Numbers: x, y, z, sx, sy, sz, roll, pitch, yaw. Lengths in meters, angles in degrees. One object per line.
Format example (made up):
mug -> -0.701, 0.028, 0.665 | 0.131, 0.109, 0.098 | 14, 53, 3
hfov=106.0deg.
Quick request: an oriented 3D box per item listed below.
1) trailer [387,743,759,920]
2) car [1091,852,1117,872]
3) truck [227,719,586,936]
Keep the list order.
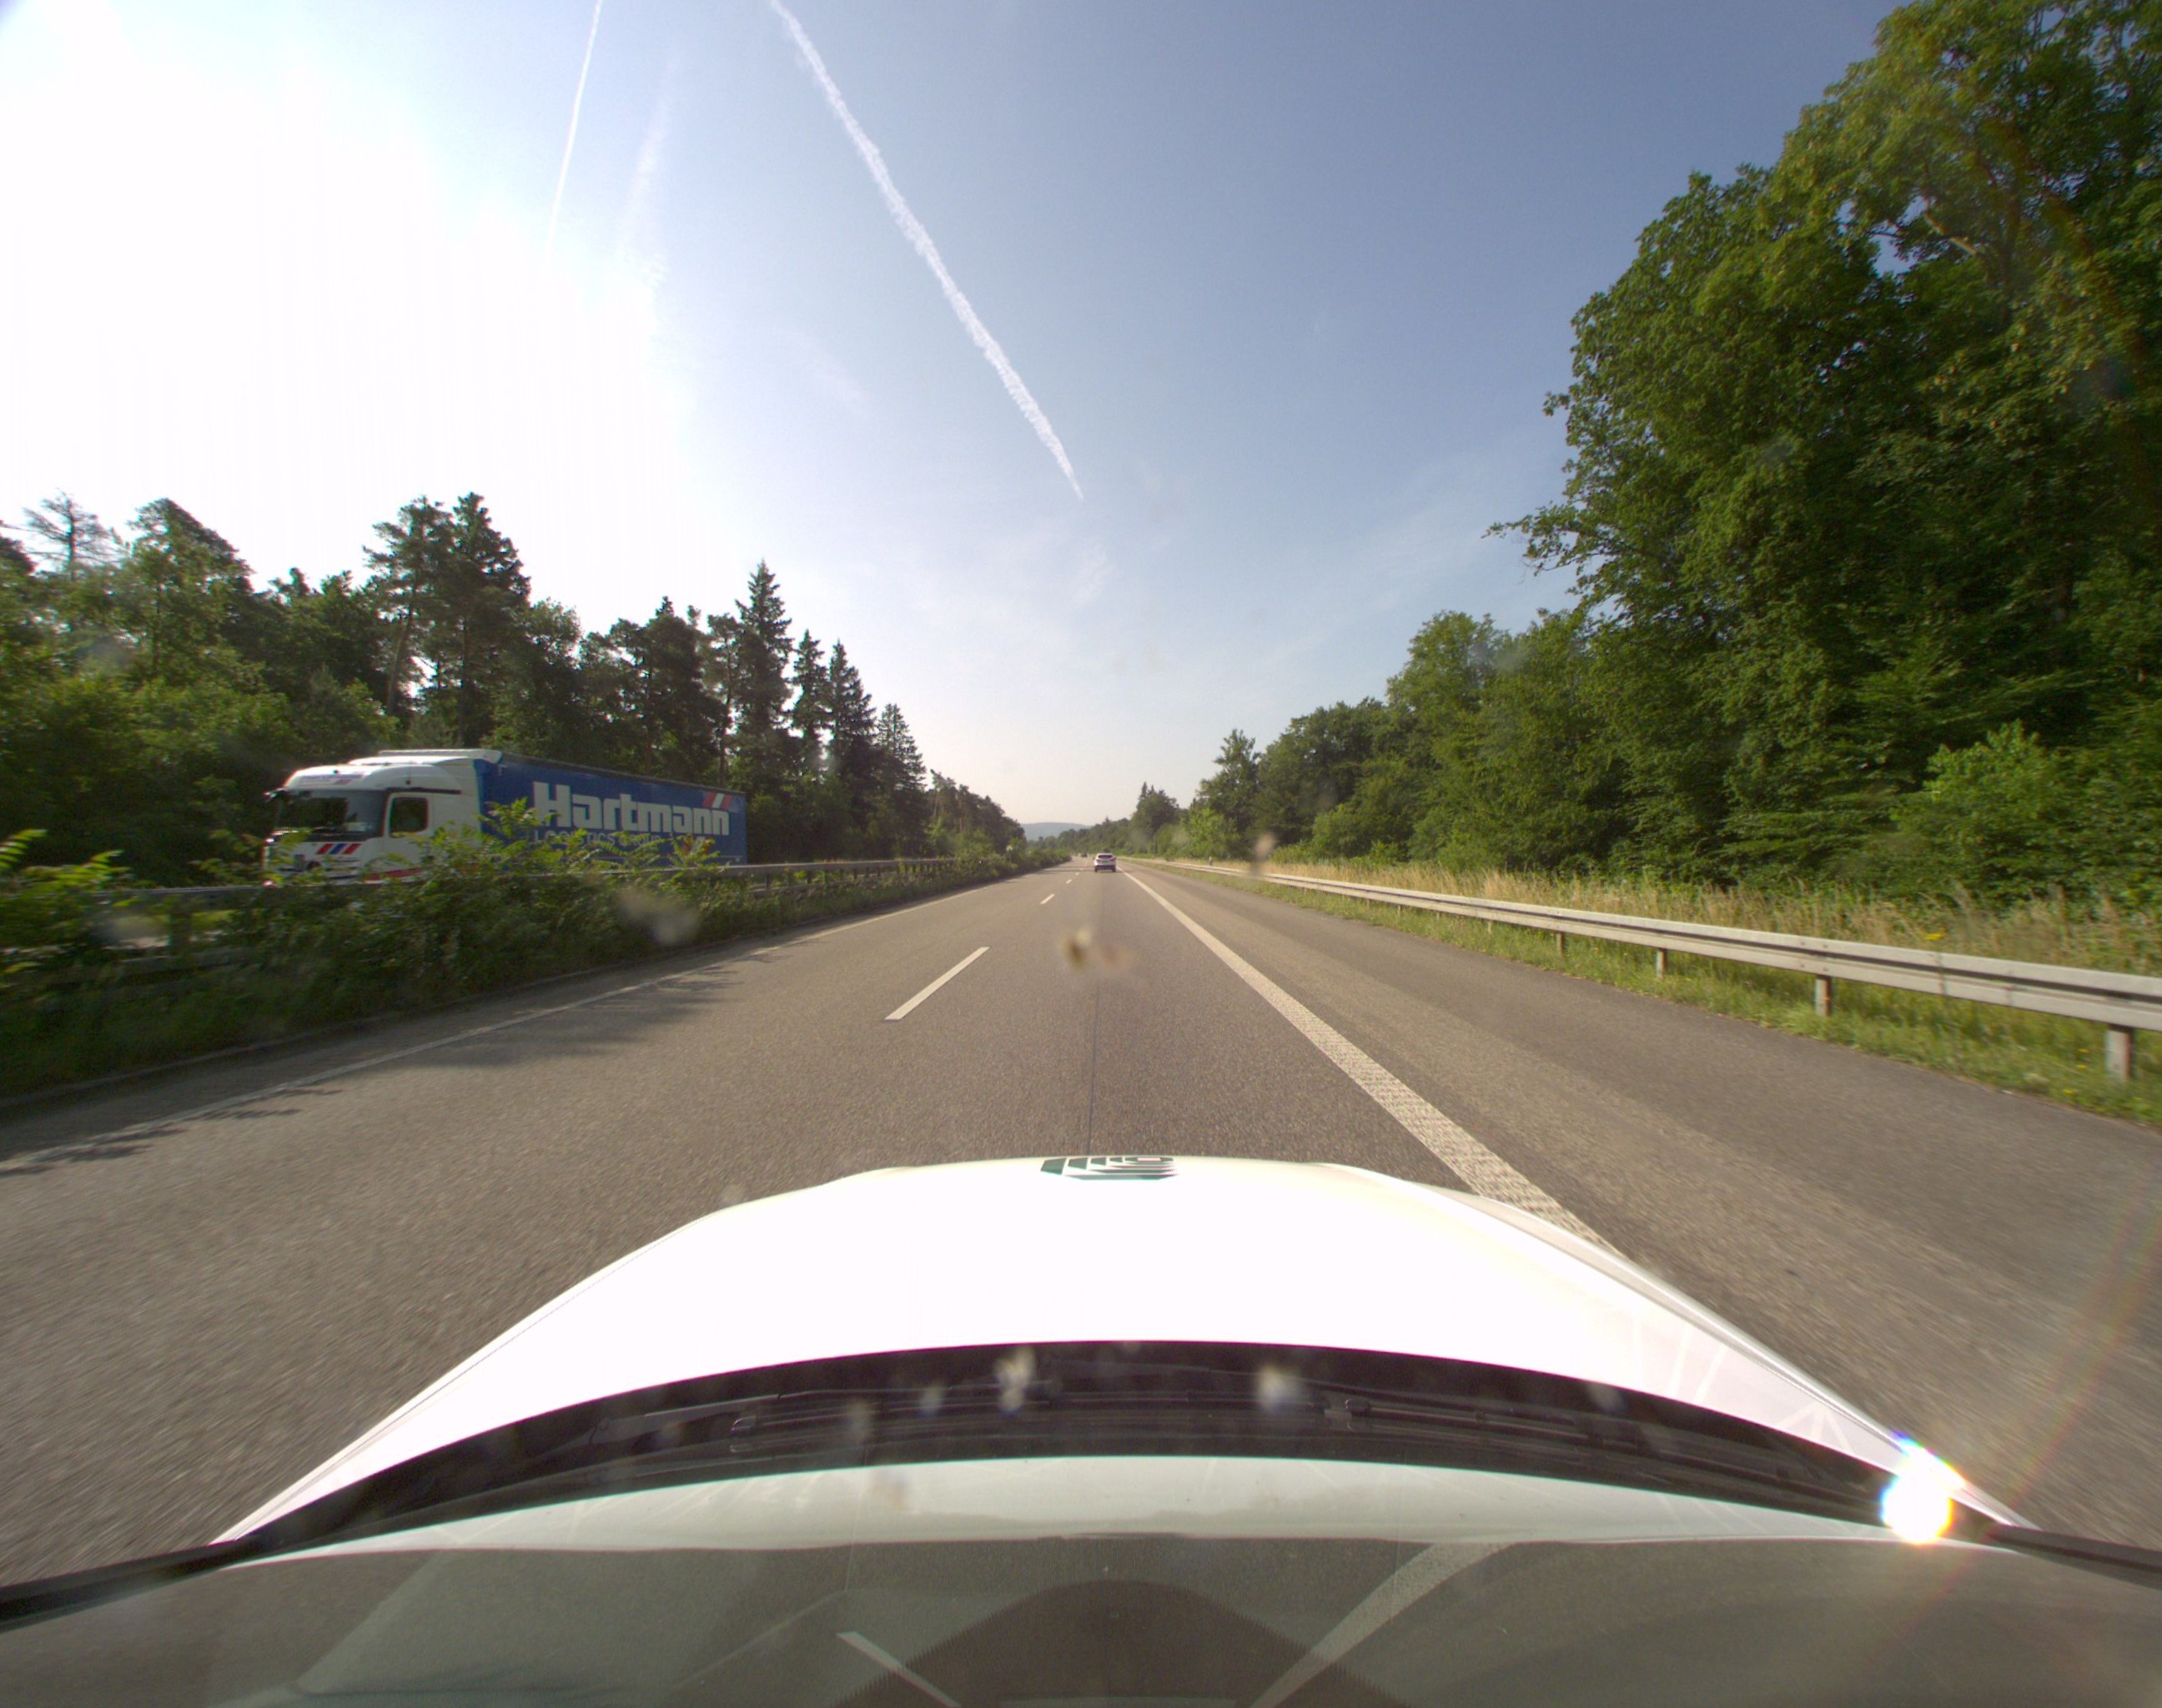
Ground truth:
trailer -> -14.515, -0.533, 25.700 | 2.882, 4.008, 13.329 | -2, 0, 2
car -> 1.943, 0.650, 69.076 | 1.869, 1.586, 3.996 | 1, 0, -3
truck -> -14.750, -0.504, 18.595 | 2.882, 4.031, 6.028 | -2, 0, 2
